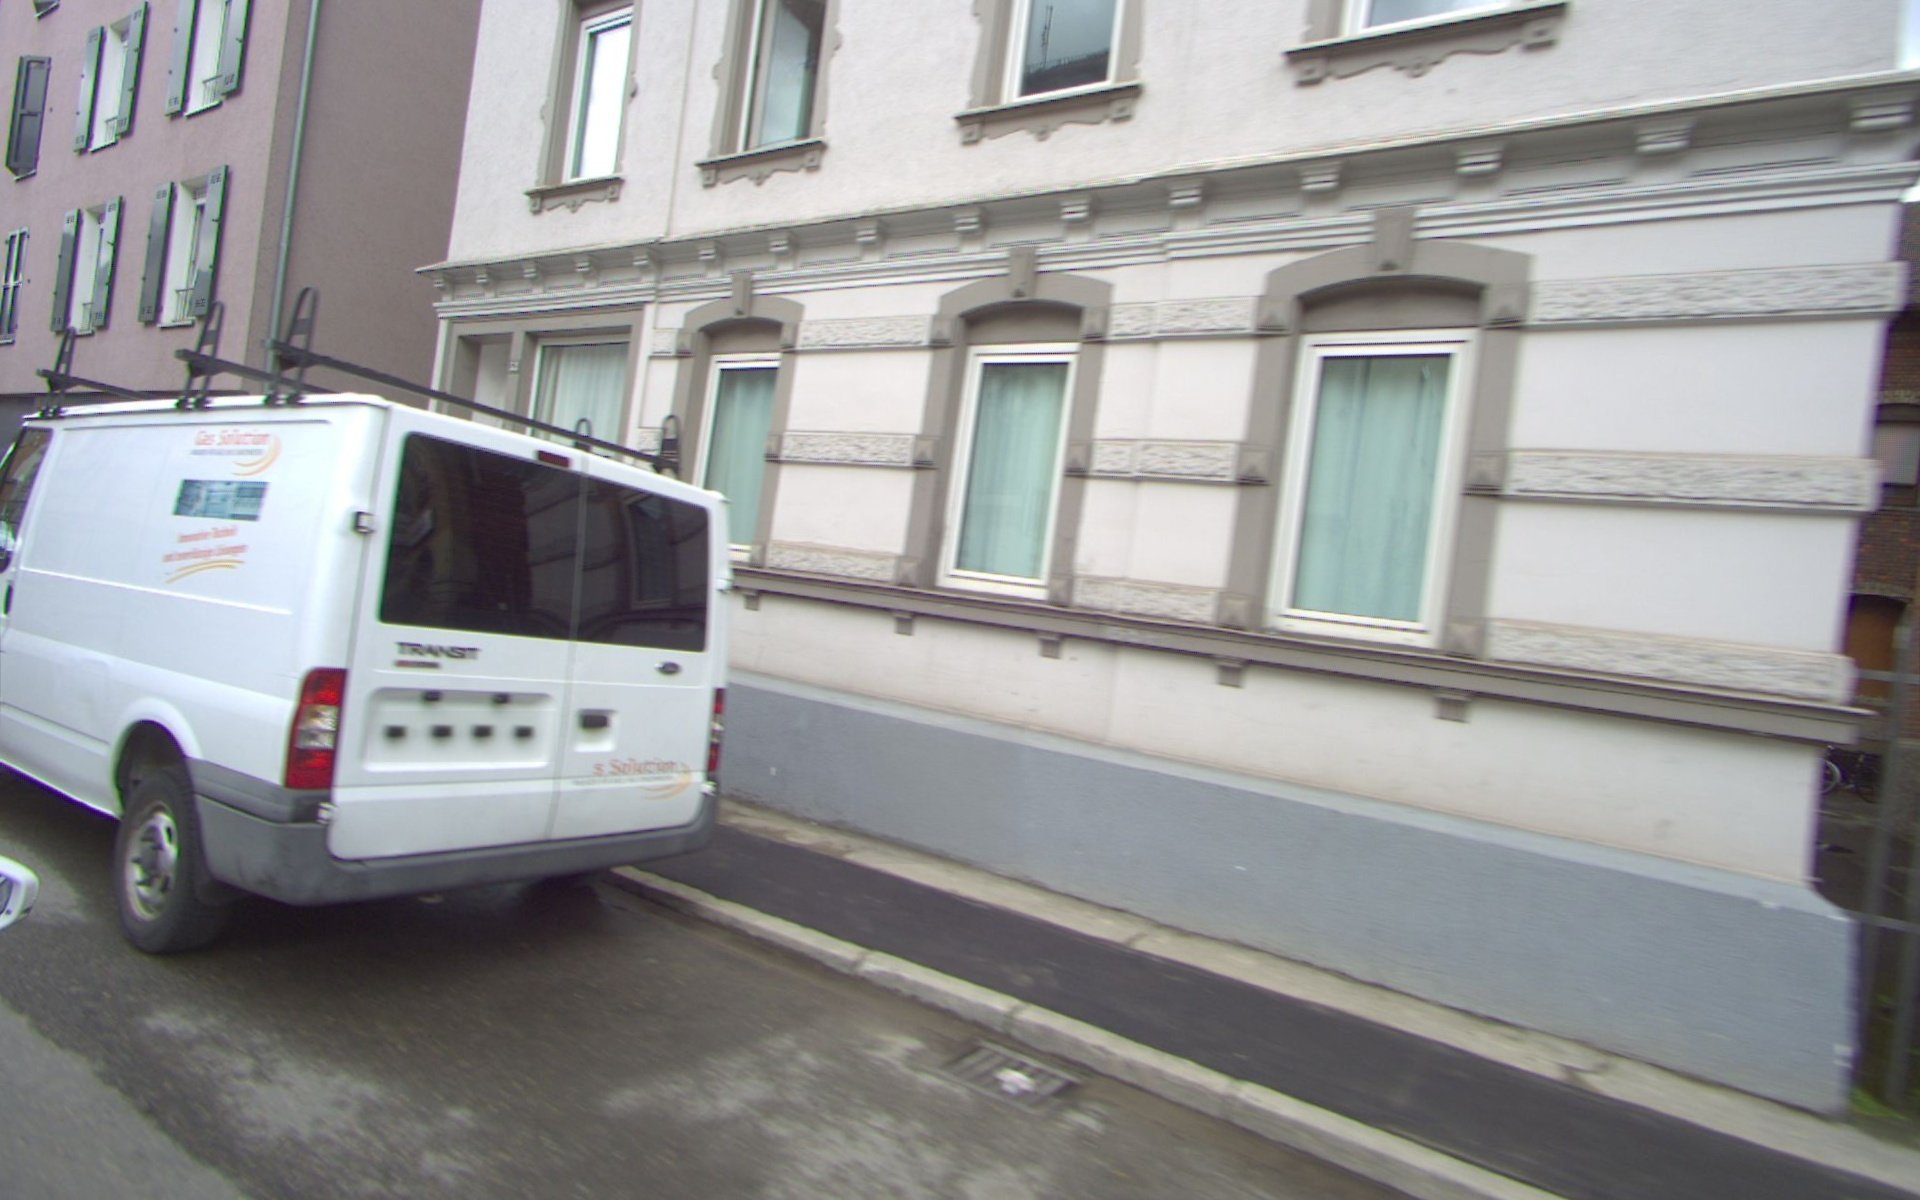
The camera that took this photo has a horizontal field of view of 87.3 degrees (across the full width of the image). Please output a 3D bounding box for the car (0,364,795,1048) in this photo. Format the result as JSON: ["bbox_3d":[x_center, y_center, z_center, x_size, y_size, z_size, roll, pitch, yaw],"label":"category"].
[{"bbox_3d":[-3.498,0.194,5.172,4.845,2.027,2.133,7,-3,33],"label":"car"}]
